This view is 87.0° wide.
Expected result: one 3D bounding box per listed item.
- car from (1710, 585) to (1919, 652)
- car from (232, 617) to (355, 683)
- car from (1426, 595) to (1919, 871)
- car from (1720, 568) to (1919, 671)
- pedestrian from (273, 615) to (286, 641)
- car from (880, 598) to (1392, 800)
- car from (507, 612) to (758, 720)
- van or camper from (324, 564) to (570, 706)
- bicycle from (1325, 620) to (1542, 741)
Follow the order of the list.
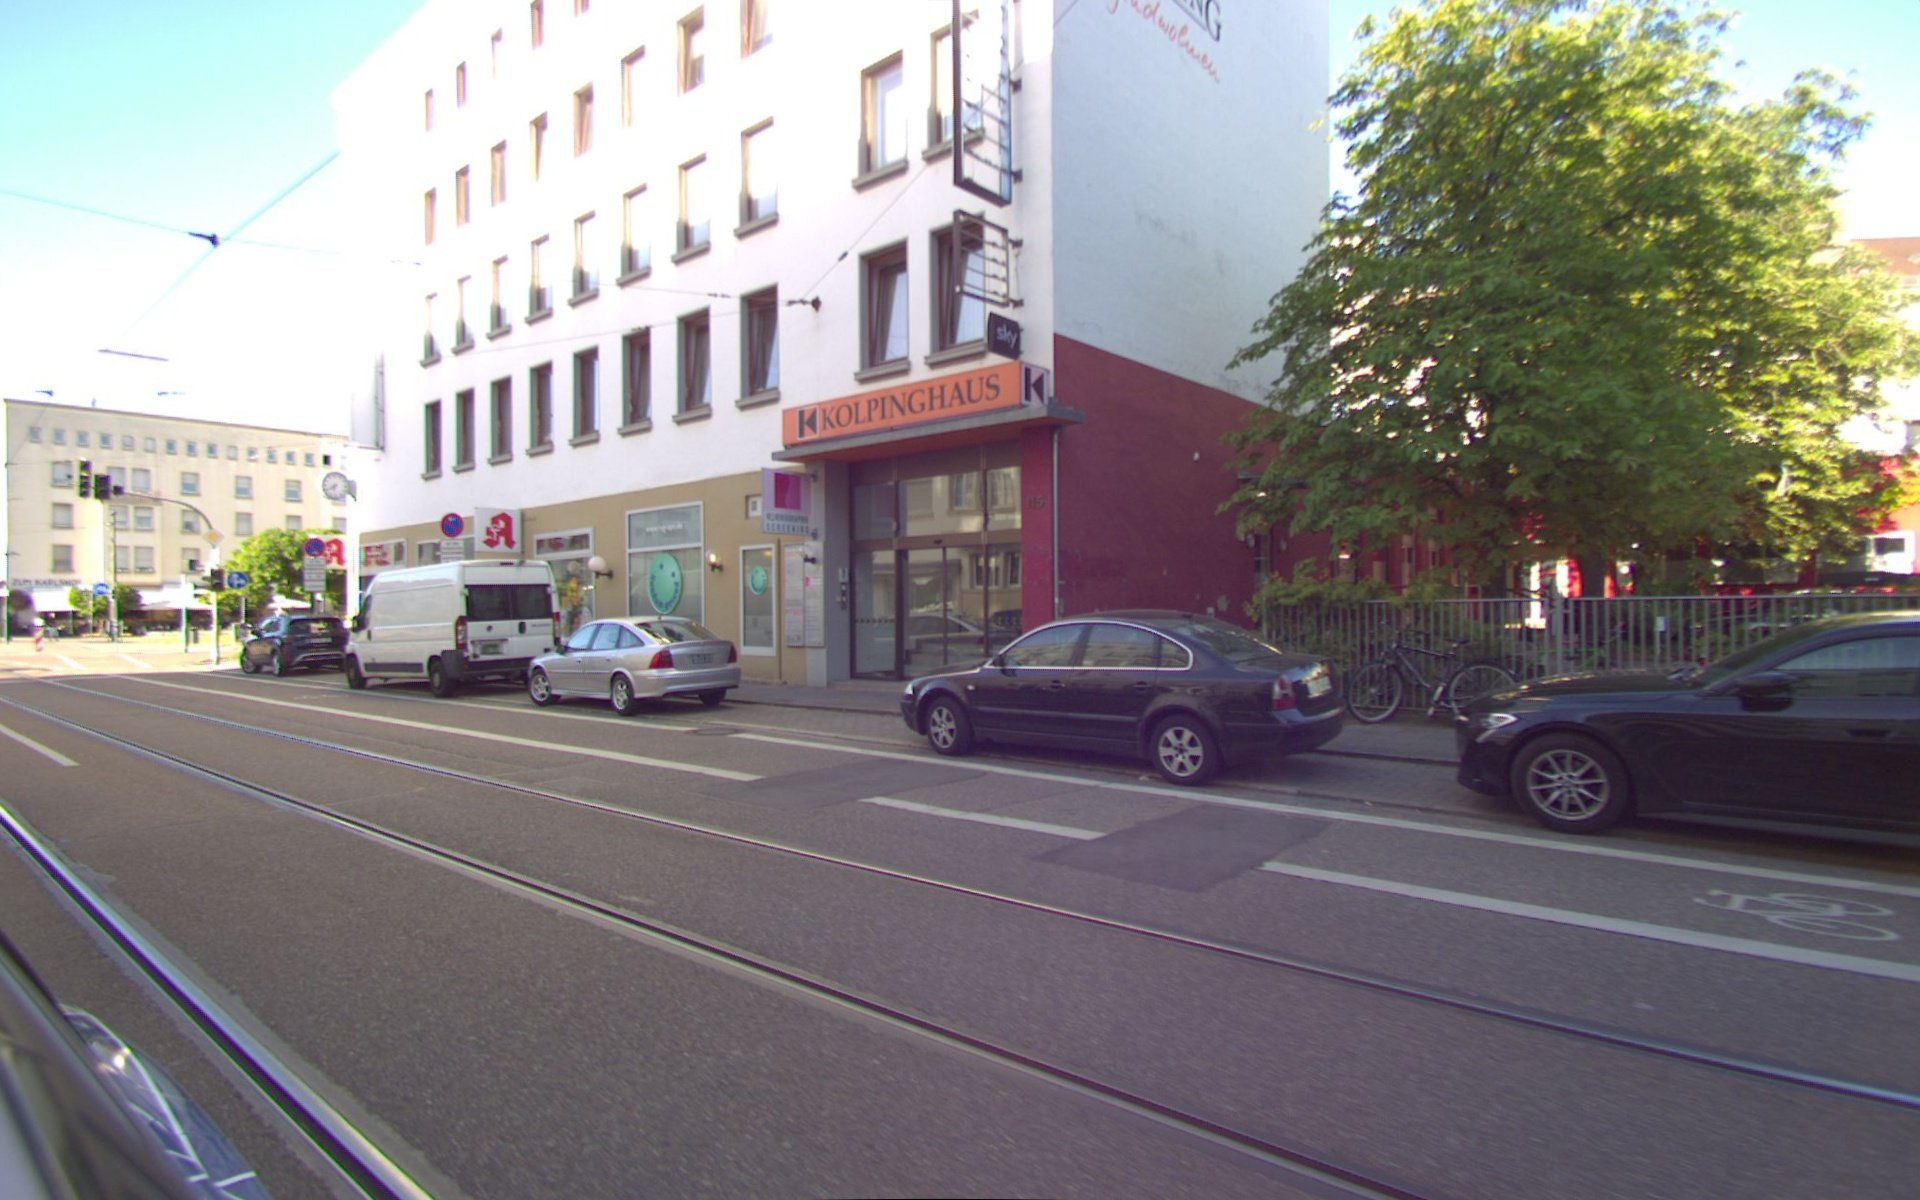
[{"bbox_3d":[22.014,0.472,26.109,4.147,1.598,1.747,-2,-1,41],"label":"car"},{"bbox_3d":[-17.865,1.276,27.061,3.991,1.564,1.764,-1,1,42],"label":"car"},{"bbox_3d":[5.723,0.727,6.267,4.839,1.456,1.765,-1,1,41],"label":"car"},{"bbox_3d":[17.554,0.370,19.856,4.140,1.908,1.750,-1,-1,36],"label":"car"},{"bbox_3d":[-45.474,1.888,67.598,0.657,1.708,0.841,0,-1,-38],"label":"pedestrian"},{"bbox_3d":[1.521,0.803,9.960,4.696,1.492,1.765,-1,1,40],"label":"car"},{"bbox_3d":[-5.272,0.949,15.980,4.444,1.409,1.764,-1,1,42],"label":"car"},{"bbox_3d":[-10.580,0.642,20.590,6.227,2.485,2.150,-1,1,40],"label":"van or camper"},{"bbox_3d":[5.006,0.809,10.819,2.049,1.183,0.435,-1,0,42],"label":"bicycle"}]
